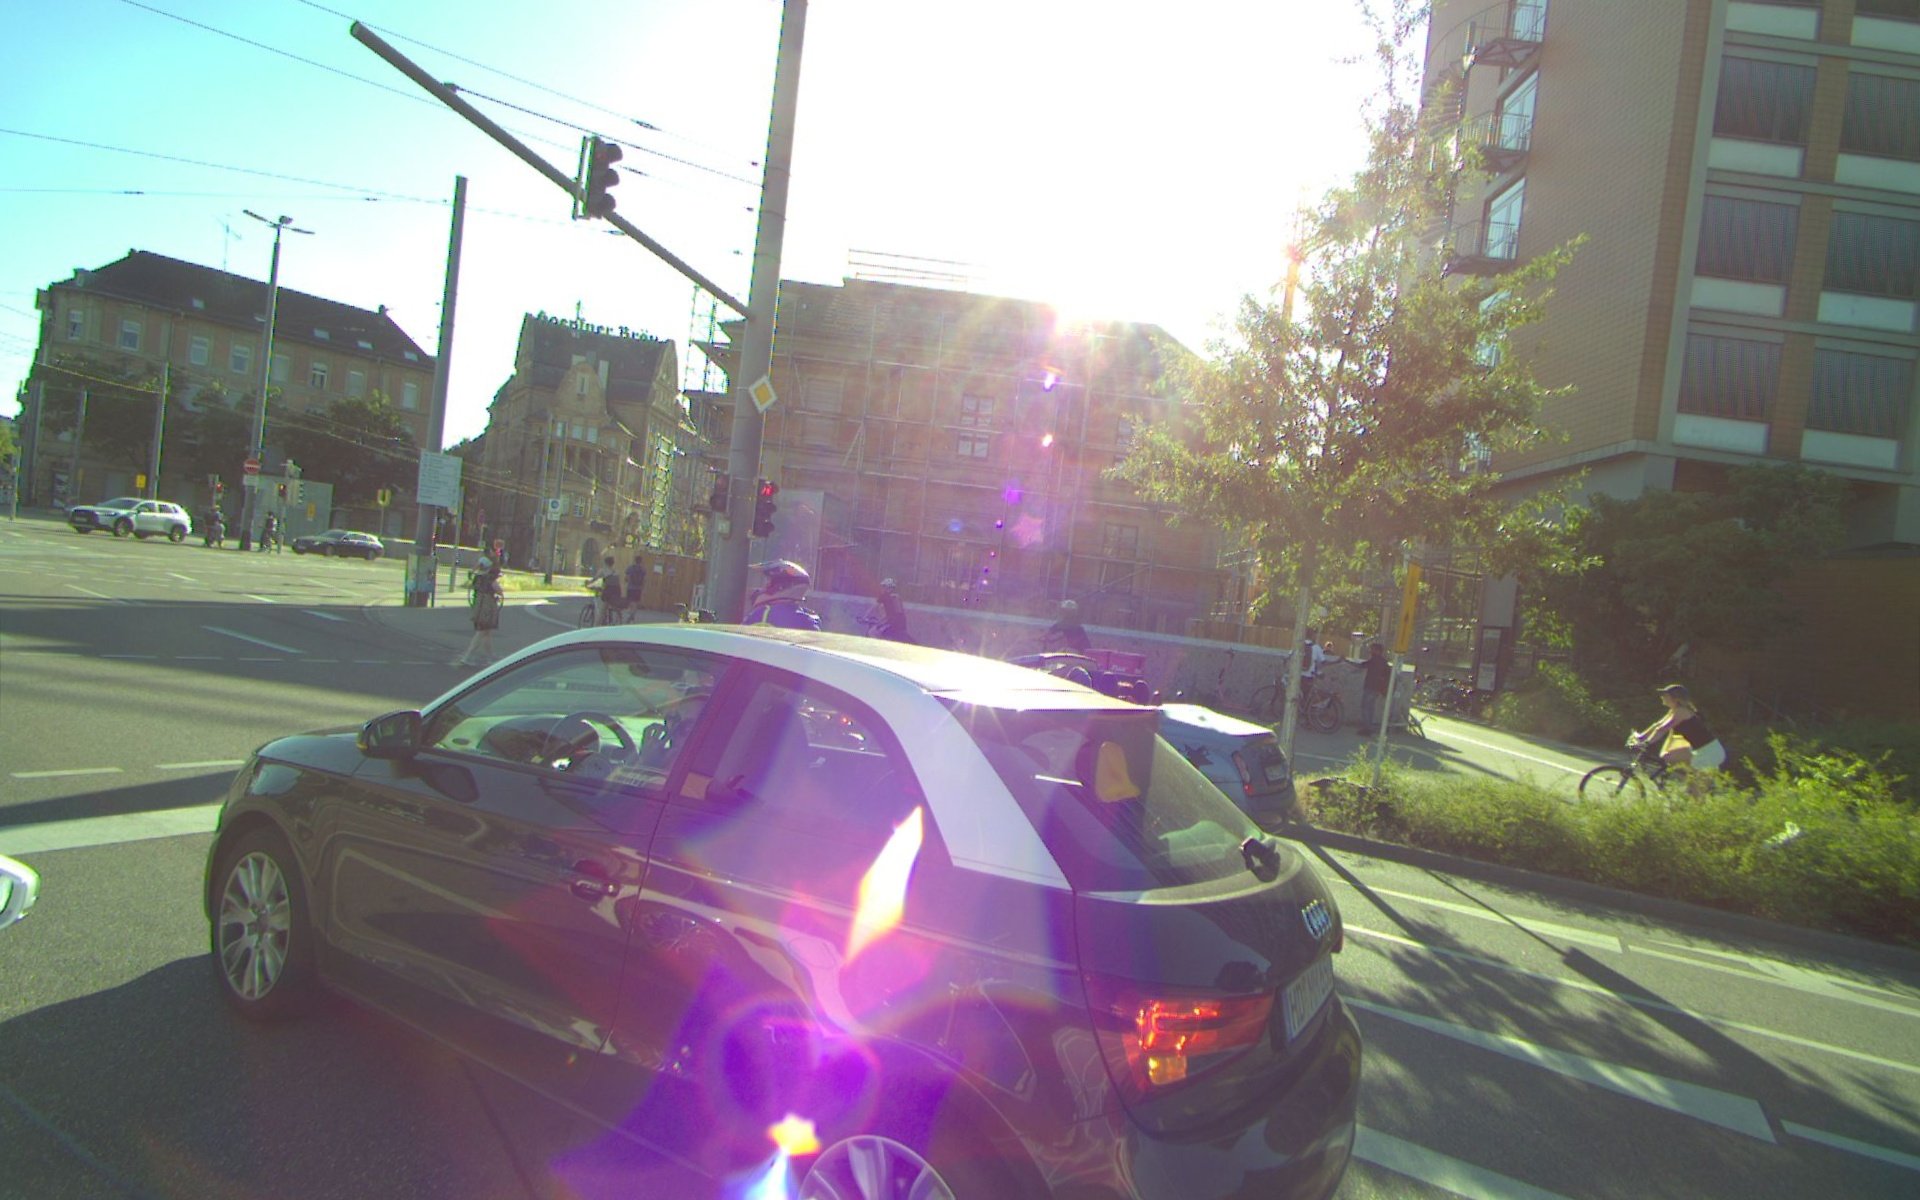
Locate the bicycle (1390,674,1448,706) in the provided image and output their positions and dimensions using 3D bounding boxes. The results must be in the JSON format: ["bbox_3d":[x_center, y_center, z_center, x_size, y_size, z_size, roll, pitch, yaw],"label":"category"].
[{"bbox_3d":[15.511,3.031,33.980,1.623,0.868,0.529,7,1,1],"label":"bicycle"}]

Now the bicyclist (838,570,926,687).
[{"bbox_3d":[-1.339,0.495,17.261,1.074,1.853,0.779,7,1,26],"label":"bicyclist"}]

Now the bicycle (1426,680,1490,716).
[{"bbox_3d":[15.317,3.003,30.983,1.623,0.868,0.529,7,1,1],"label":"bicycle"}]

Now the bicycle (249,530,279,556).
[{"bbox_3d":[-30.398,-2.486,43.912,0.854,0.916,2.278,8,0,-38],"label":"bicycle"}]

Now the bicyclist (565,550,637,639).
[{"bbox_3d":[-7.395,-0.110,20.732,1.074,1.700,0.778,7,3,30],"label":"bicyclist"}]

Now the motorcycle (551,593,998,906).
[{"bbox_3d":[-1.226,0.813,6.348,2.610,1.394,1.097,6,-1,33],"label":"motorcycle"}]

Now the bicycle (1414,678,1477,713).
[{"bbox_3d":[15.250,2.995,31.609,1.623,0.868,0.529,7,1,1],"label":"bicycle"}]

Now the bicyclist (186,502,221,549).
[{"bbox_3d":[-31.388,-3.101,41.764,0.851,1.800,0.584,6,1,1],"label":"bicyclist"}]

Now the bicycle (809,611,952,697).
[{"bbox_3d":[-1.373,0.913,17.262,2.250,1.170,0.779,7,1,26],"label":"bicycle"}]

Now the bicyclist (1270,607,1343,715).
[{"bbox_3d":[6.215,1.086,18.044,0.881,1.810,0.785,6,2,40],"label":"bicyclist"}]

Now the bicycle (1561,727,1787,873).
[{"bbox_3d":[7.742,2.136,11.029,1.837,1.135,0.718,9,1,32],"label":"bicycle"}]

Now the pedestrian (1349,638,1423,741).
[{"bbox_3d":[7.585,1.589,17.915,0.803,1.677,0.781,9,-2,-42],"label":"pedestrian"}]

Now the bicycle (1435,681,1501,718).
[{"bbox_3d":[15.337,3.000,30.401,1.623,0.868,0.529,7,1,1],"label":"bicycle"}]

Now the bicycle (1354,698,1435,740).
[{"bbox_3d":[8.272,2.262,19.198,1.332,0.547,0.430,7,2,18],"label":"bicycle"}]

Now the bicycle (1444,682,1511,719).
[{"bbox_3d":[15.329,2.982,29.839,1.623,0.868,0.529,7,1,1],"label":"bicycle"}]

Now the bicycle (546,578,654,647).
[{"bbox_3d":[-7.450,0.239,20.766,2.252,1.172,0.778,7,3,30],"label":"bicycle"}]

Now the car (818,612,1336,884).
[{"bbox_3d":[0.939,1.111,8.672,3.913,1.461,1.804,7,-1,32],"label":"car"}]

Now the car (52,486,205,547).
[{"bbox_3d":[-33.705,-3.330,40.993,1.917,1.821,4.851,7,0,2],"label":"car"}]

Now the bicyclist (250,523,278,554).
[{"bbox_3d":[-30.425,-2.695,43.978,0.854,1.191,0.707,8,1,-39],"label":"bicyclist"}]

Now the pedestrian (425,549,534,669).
[{"bbox_3d":[-7.111,0.157,14.921,0.686,1.626,1.096,9,1,21],"label":"pedestrian"}]

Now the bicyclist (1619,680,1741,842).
[{"bbox_3d":[7.844,1.724,11.004,0.835,1.568,0.716,9,1,31],"label":"bicyclist"}]

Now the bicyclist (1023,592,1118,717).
[{"bbox_3d":[1.782,0.875,16.233,1.077,1.856,0.777,7,1,40],"label":"bicyclist"}]

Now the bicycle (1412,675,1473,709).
[{"bbox_3d":[15.638,2.992,32.606,1.623,0.868,0.529,7,1,1],"label":"bicycle"}]

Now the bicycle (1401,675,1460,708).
[{"bbox_3d":[15.574,3.022,33.322,1.623,0.868,0.529,7,1,1],"label":"bicycle"}]

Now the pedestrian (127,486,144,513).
[{"bbox_3d":[-42.955,-5.231,52.395,0.591,1.356,0.423,7,1,32],"label":"pedestrian"}]

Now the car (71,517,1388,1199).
[{"bbox_3d":[-0.859,0.721,3.325,3.910,1.461,1.805,7,-1,29],"label":"car"}]

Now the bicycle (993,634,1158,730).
[{"bbox_3d":[1.808,1.291,16.176,2.544,1.170,0.777,7,1,41],"label":"bicycle"}]

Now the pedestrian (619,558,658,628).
[{"bbox_3d":[-8.245,-0.180,25.804,0.690,1.693,0.823,5,2,-29],"label":"pedestrian"}]

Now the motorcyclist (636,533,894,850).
[{"bbox_3d":[-1.205,0.547,6.356,0.921,1.742,1.097,6,-1,33],"label":"motorcyclist"}]

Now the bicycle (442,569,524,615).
[{"bbox_3d":[-12.114,-0.209,25.506,2.212,0.964,0.721,5,-1,32],"label":"bicycle"}]

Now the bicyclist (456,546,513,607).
[{"bbox_3d":[-12.048,-0.599,25.493,1.058,1.401,0.721,5,-1,32],"label":"bicyclist"}]

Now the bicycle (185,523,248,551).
[{"bbox_3d":[-31.434,-2.641,42.574,0.844,0.916,2.303,9,0,1],"label":"bicycle"}]

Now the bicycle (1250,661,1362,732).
[{"bbox_3d":[6.450,1.785,18.882,0.621,1.052,1.946,4,1,-33],"label":"bicycle"}]

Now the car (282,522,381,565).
[{"bbox_3d":[-32.790,-2.919,52.640,1.915,1.582,4.360,9,0,8],"label":"car"}]

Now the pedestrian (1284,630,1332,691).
[{"bbox_3d":[12.769,2.214,36.908,1.276,2.039,0.994,7,1,29],"label":"pedestrian"}]

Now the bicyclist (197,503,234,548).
[{"bbox_3d":[-31.379,-3.129,42.406,0.844,1.711,0.651,8,1,1],"label":"bicyclist"}]

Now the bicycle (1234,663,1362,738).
[{"bbox_3d":[6.018,1.765,17.979,1.935,1.052,0.788,6,2,40],"label":"bicycle"}]
